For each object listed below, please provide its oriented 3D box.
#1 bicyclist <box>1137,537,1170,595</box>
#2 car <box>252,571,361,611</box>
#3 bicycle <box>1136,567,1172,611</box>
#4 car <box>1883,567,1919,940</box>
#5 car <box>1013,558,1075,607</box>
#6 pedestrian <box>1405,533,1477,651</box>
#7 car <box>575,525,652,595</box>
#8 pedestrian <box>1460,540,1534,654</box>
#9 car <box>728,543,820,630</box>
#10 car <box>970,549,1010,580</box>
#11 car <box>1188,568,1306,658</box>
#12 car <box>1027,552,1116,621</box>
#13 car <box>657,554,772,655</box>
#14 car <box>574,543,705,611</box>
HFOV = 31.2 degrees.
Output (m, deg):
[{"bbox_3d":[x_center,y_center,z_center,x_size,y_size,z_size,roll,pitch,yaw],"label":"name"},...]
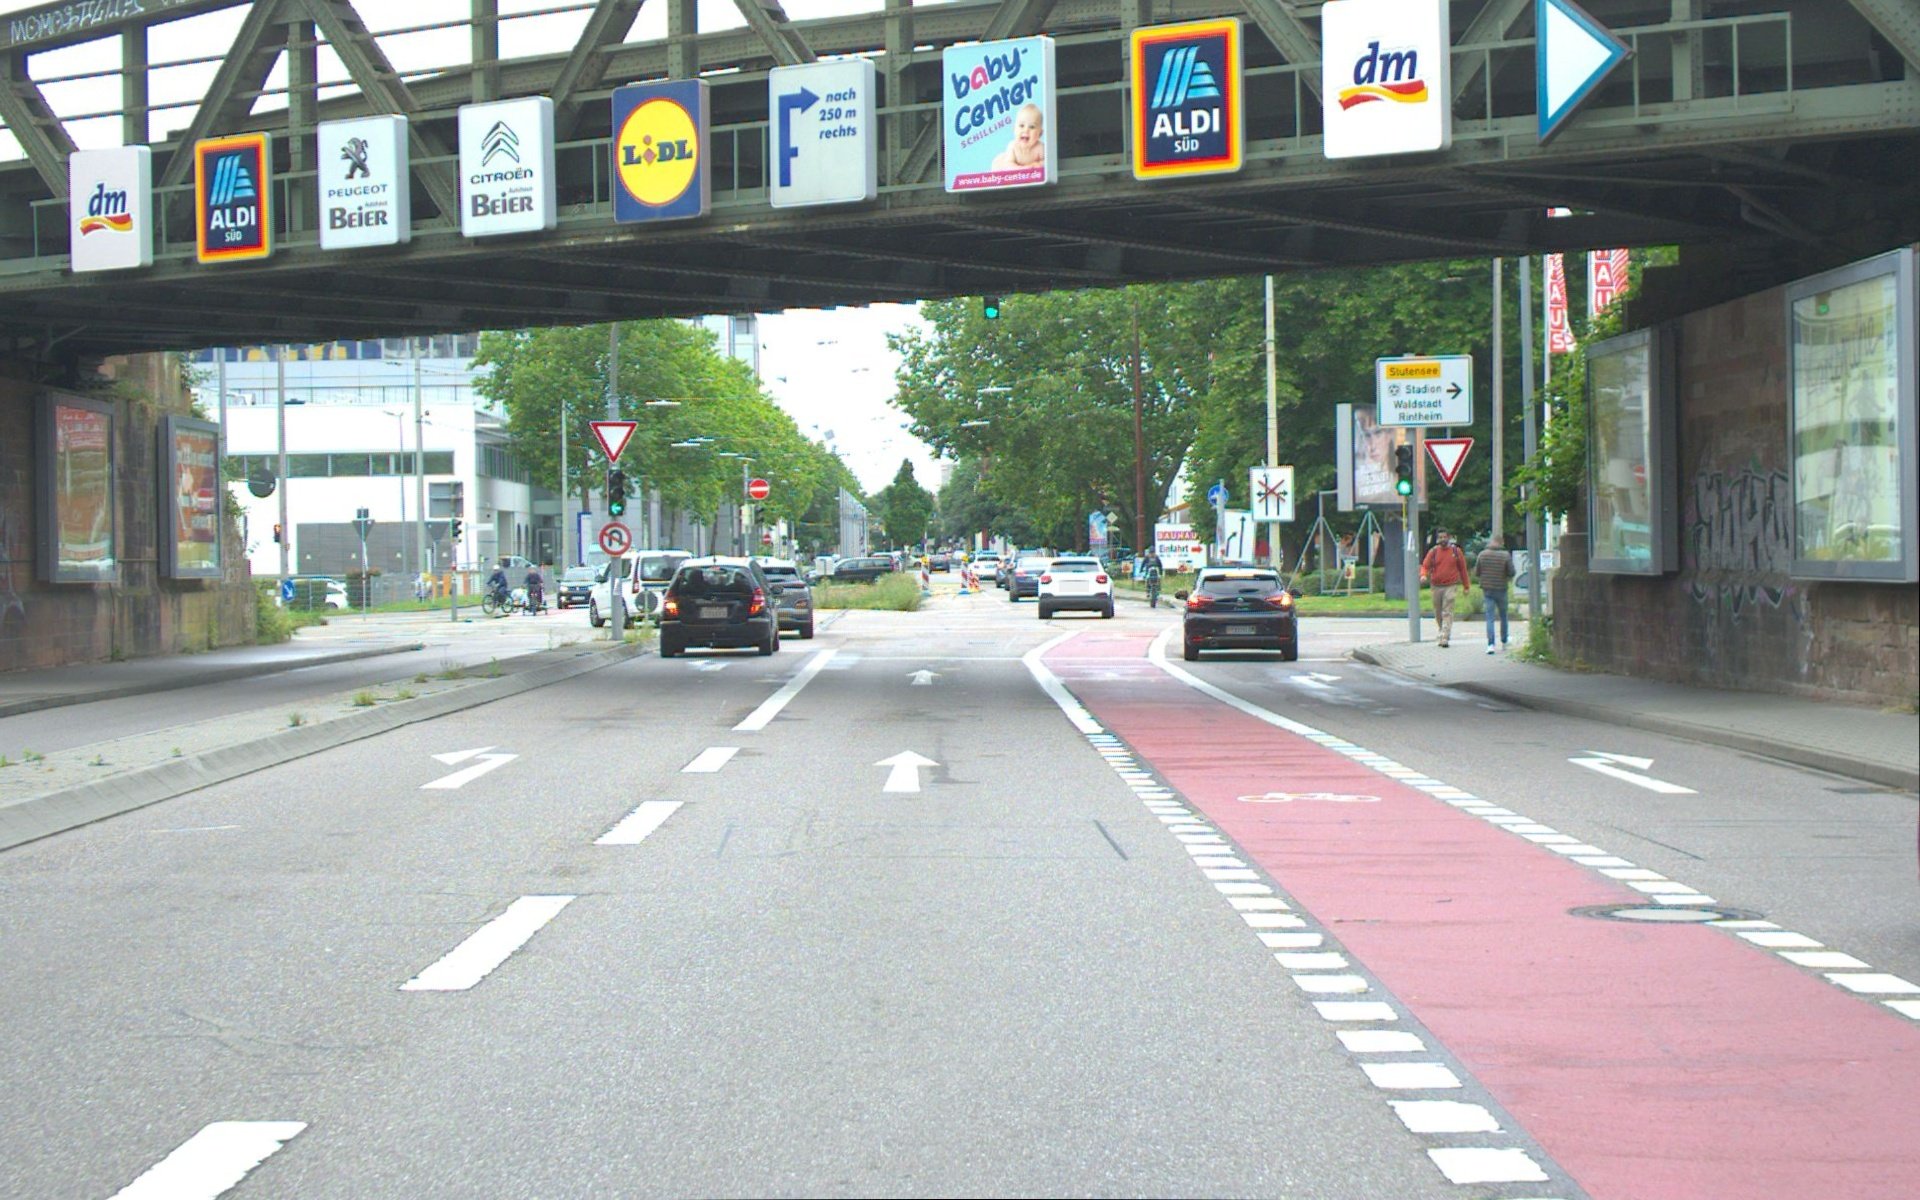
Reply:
[{"bbox_3d":[5.458,-0.963,97.136,0.816,1.624,1.235,-1,1,-1],"label":"bicyclist"},{"bbox_3d":[-29.055,-0.412,152.925,4.526,1.628,1.913,-1,1,-3],"label":"car"},{"bbox_3d":[5.475,-0.318,97.145,0.816,1.208,2.683,-1,1,-1],"label":"bicycle"},{"bbox_3d":[4.525,0.627,11.803,1.679,1.426,3.774,0,1,0],"label":"car"},{"bbox_3d":[2.705,-0.569,111.359,1.684,1.508,3.706,0,1,-4],"label":"car"},{"bbox_3d":[7.263,-0.123,51.948,0.871,1.753,0.787,-1,1,-9],"label":"pedestrian"},{"bbox_3d":[-14.497,-1.687,144.140,2.328,2.816,5.949,-1,1,3],"label":"car"},{"bbox_3d":[7.785,-0.048,49.818,0.743,1.634,0.777,0,1,40],"label":"pedestrian"},{"bbox_3d":[-3.703,-0.298,68.119,1.772,1.647,3.670,0,1,-4],"label":"car"},{"bbox_3d":[1.524,-1.815,175.747,1.795,1.508,3.706,0,1,-4],"label":"car"},{"bbox_3d":[4.347,0.177,52.446,1.647,1.276,3.419,0,1,2],"label":"car"},{"bbox_3d":[2.707,-0.350,84.417,1.823,1.595,3.776,0,1,-4],"label":"car"},{"bbox_3d":[-3.917,0.041,55.091,1.768,1.522,3.670,0,1,-4],"label":"car"},{"bbox_3d":[-7.643,-0.561,81.586,1.961,1.522,5.012,0,1,-19],"label":"car"}]
